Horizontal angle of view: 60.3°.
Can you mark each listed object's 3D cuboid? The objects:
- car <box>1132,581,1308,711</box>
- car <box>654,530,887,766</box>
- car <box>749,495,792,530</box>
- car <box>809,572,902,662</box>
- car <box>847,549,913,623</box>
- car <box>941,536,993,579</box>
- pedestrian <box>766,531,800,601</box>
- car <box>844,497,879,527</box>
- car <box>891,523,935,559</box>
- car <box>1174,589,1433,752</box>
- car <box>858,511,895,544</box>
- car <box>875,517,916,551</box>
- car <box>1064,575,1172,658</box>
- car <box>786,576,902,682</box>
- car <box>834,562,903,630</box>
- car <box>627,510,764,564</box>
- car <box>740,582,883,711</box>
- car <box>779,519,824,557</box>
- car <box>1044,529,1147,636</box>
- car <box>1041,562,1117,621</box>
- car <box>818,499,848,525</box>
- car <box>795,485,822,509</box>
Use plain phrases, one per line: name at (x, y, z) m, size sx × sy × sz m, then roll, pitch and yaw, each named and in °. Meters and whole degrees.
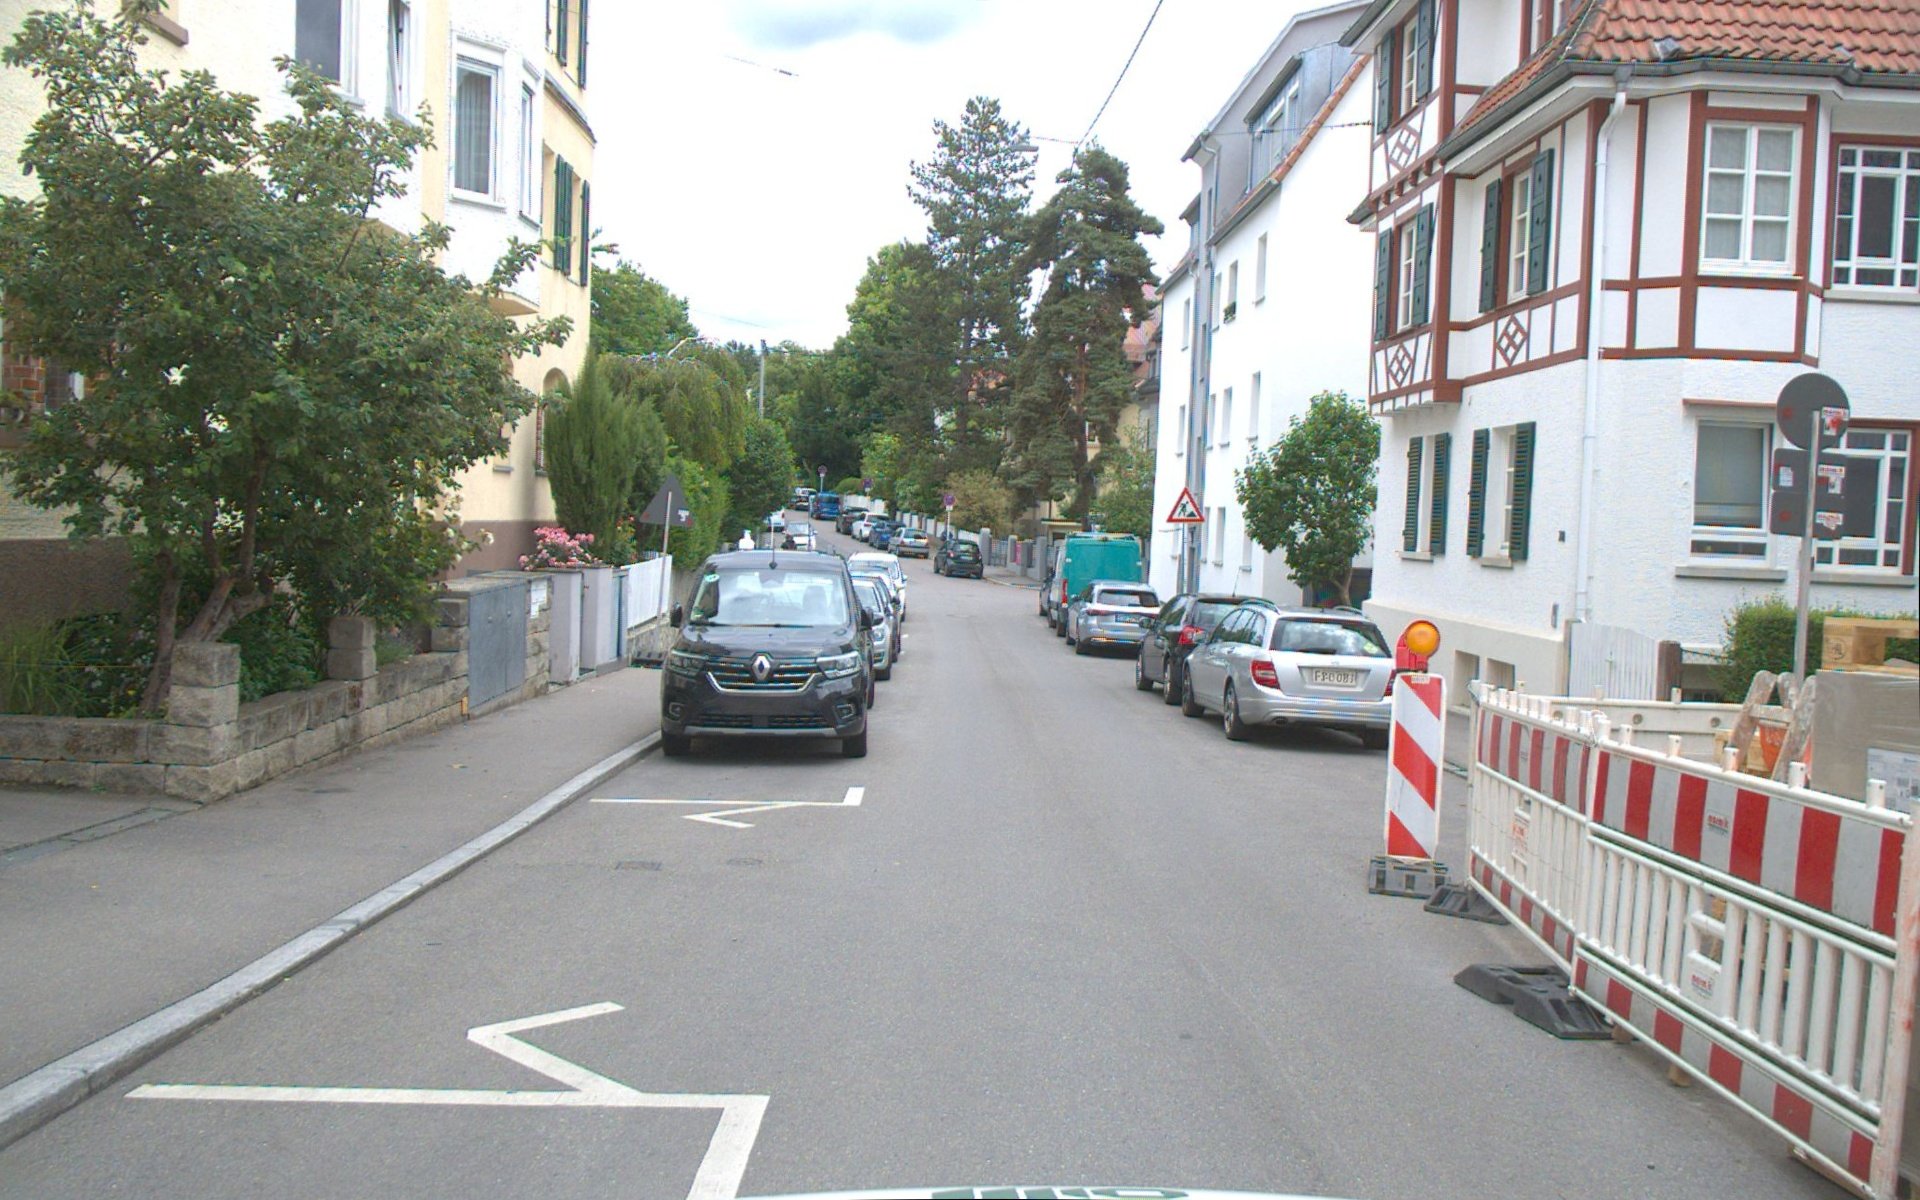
car at (3.561, 0.571, 23.272) m, size 1.656 × 1.546 × 3.879 m, roll 3°, pitch 1°, yaw -2°
car at (-1.664, 0.372, 15.473) m, size 1.808 × 1.847 × 4.541 m, roll 1°, pitch 0°, yaw -4°
car at (-11.294, -5.230, 98.286) m, size 1.872 × 1.908 × 4.579 m, roll 1°, pitch 4°, yaw -15°
car at (-1.877, 0.258, 30.484) m, size 1.564 × 1.503 × 3.990 m, roll 1°, pitch 1°, yaw -2°
car at (-2.118, -0.414, 44.299) m, size 1.639 × 1.685 × 3.863 m, roll 1°, pitch 4°, yaw -2°
car at (0.279, -1.849, 70.946) m, size 1.604 × 1.509 × 3.525 m, roll 3°, pitch 5°, yaw -9°
pedestrian at (-5.122, -0.984, 47.933) m, size 0.775 × 1.966 × 0.919 m, roll 3°, pitch 1°, yaw 1°
car at (-5.891, -5.268, 98.889) m, size 1.605 × 1.563 × 3.524 m, roll 3°, pitch 5°, yaw -10°
car at (-2.365, -2.945, 82.569) m, size 1.605 × 1.509 × 3.524 m, roll 3°, pitch 5°, yaw -10°
car at (3.709, 0.690, 18.696) m, size 1.782 × 1.467 × 4.450 m, roll 3°, pitch 1°, yaw -2°
car at (-4.734, -4.110, 93.116) m, size 1.605 × 1.563 × 3.524 m, roll 3°, pitch 5°, yaw -10°
car at (-3.425, -3.472, 87.093) m, size 1.605 × 1.509 × 3.524 m, roll 3°, pitch 5°, yaw -10°
car at (3.211, 0.290, 34.268) m, size 1.690 × 1.473 × 3.880 m, roll 2°, pitch 2°, yaw -2°
car at (-1.725, 0.386, 25.609) m, size 1.609 × 1.441 × 3.982 m, roll 1°, pitch 1°, yaw -2°
car at (-2.185, -0.135, 40.232) m, size 1.564 × 1.437 × 3.662 m, roll 1°, pitch 3°, yaw -2°
car at (-9.635, -2.291, 60.533) m, size 1.964 × 1.668 × 4.786 m, roll 5°, pitch 2°, yaw 40°
car at (-1.810, 0.513, 20.960) m, size 1.609 × 1.412 × 3.857 m, roll 1°, pitch 1°, yaw -3°
car at (-7.675, -3.010, 79.840) m, size 1.644 × 1.685 × 3.851 m, roll 1°, pitch 4°, yaw -14°
car at (3.272, -0.485, 40.651) m, size 1.940 × 2.403 × 4.276 m, roll 2°, pitch 2°, yaw -2°
car at (3.331, -0.282, 46.872) m, size 1.690 × 1.473 × 3.880 m, roll 2°, pitch 2°, yaw -2°
car at (-8.729, -6.040, 113.354) m, size 1.605 × 1.563 × 3.524 m, roll 3°, pitch 5°, yaw -10°
car at (-11.313, -7.667, 123.366) m, size 1.605 × 1.563 × 3.524 m, roll 3°, pitch 5°, yaw -10°
